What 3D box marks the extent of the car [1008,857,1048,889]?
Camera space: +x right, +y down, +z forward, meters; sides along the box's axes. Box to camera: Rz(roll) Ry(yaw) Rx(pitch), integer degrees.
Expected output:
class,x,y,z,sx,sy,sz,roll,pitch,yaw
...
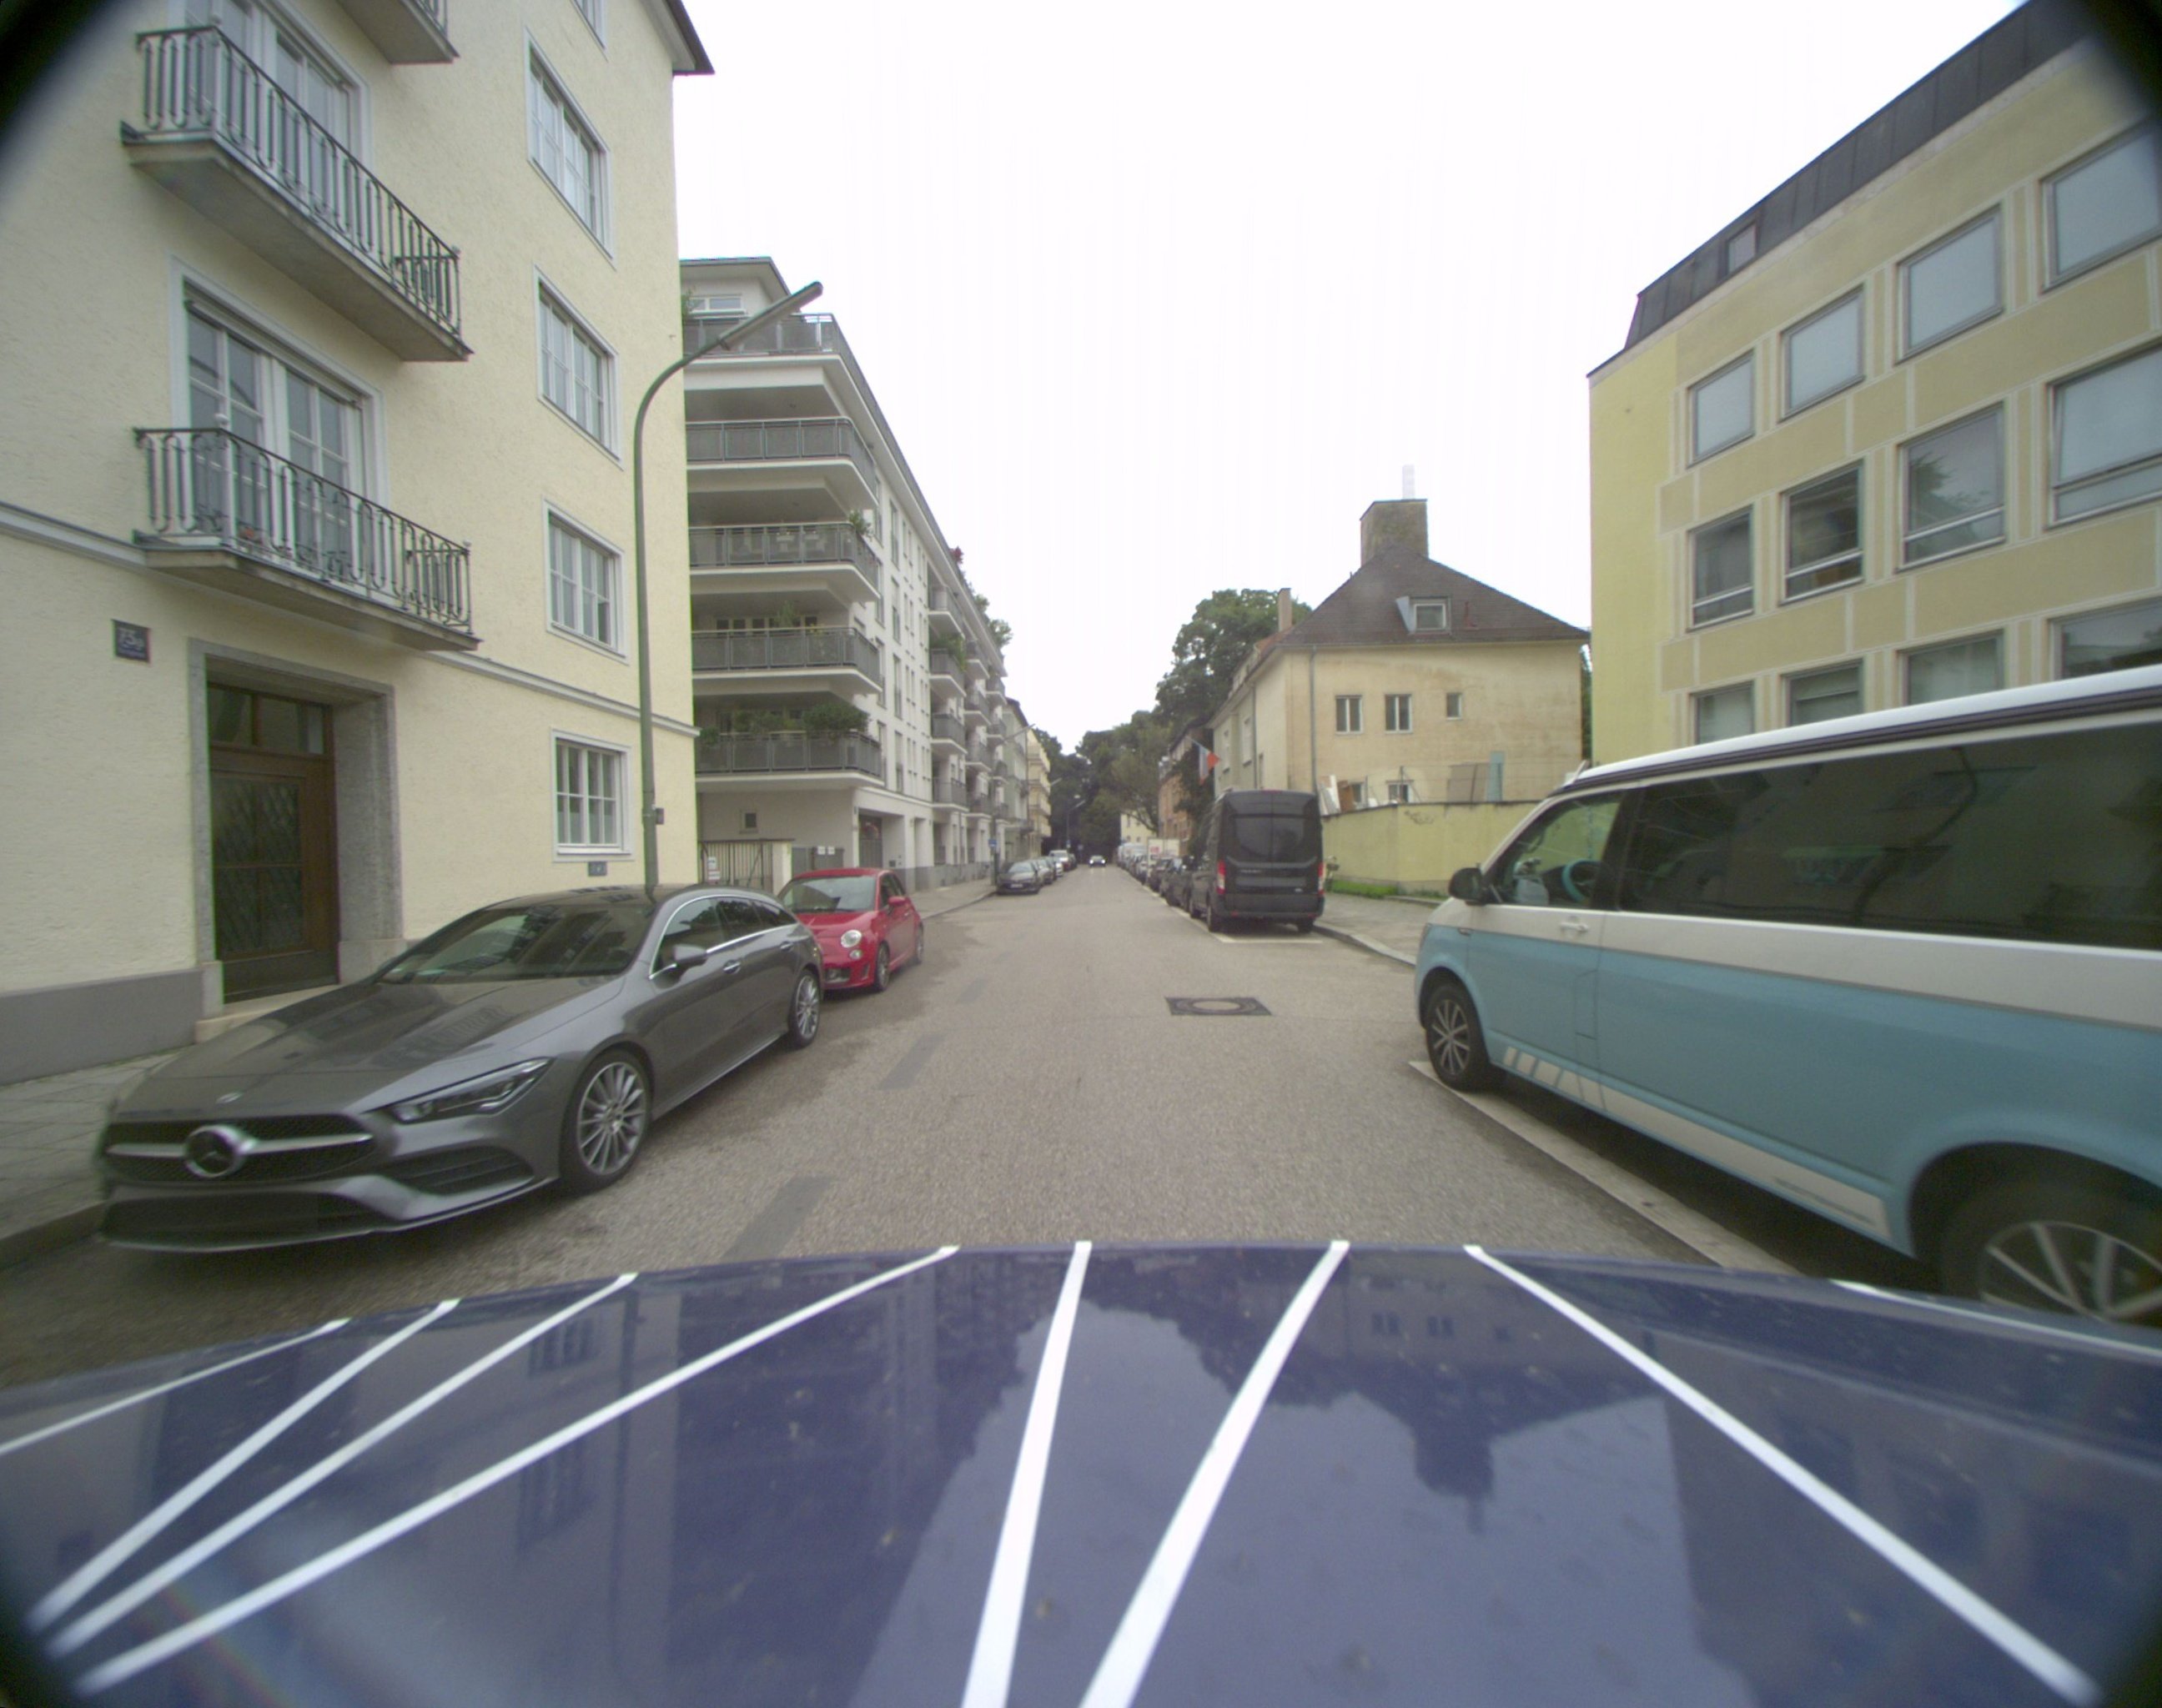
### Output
class,x,y,z,sx,sy,sz,roll,pitch,yaw
car,-2.606,0.916,38.296,1.621,1.458,3.746,-2,0,1

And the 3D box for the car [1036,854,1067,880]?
class,x,y,z,sx,sy,sz,roll,pitch,yaw
car,-1.864,0.787,49.355,1.842,1.524,4.020,-3,0,-1

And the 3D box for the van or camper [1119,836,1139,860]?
class,x,y,z,sx,sy,sz,roll,pitch,yaw
van or camper,5.515,-0.713,87.576,2.116,2.646,4.958,0,0,1

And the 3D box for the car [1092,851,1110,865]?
class,x,y,z,sx,sy,sz,roll,pitch,yaw
car,2.251,0.460,87.401,1.998,1.521,4.000,-3,0,1

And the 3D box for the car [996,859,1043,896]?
class,x,y,z,sx,sy,sz,roll,pitch,yaw
car,-2.670,0.987,33.670,1.776,1.467,4.217,-2,0,-1

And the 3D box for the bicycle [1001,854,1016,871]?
class,x,y,z,sx,sy,sz,roll,pitch,yaw
bicycle,-5.353,0.599,56.148,0.803,1.165,1.973,-2,0,2

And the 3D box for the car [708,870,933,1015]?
class,x,y,z,sx,sy,sz,roll,pitch,yaw
car,-3.190,0.997,10.121,1.659,1.421,3.755,-2,0,0

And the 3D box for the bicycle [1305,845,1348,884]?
class,x,y,z,sx,sy,sz,roll,pitch,yaw
bicycle,8.085,0.313,25.129,0.804,1.226,1.868,-1,1,0

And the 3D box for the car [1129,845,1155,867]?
class,x,y,z,sx,sy,sz,roll,pitch,yaw
car,4.372,0.126,54.492,1.630,1.459,3.520,0,1,1

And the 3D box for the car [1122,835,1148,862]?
class,x,y,z,sx,sy,sz,roll,pitch,yaw
car,5.015,-0.487,71.146,2.117,2.461,5.231,0,0,1

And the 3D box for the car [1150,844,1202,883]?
class,x,y,z,sx,sy,sz,roll,pitch,yaw
car,3.995,0.371,32.692,1.868,1.533,5.092,0,0,3

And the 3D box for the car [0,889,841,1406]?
class,x,y,z,sx,sy,sz,roll,pitch,yaw
car,-3.160,1.077,4.786,1.777,1.421,4.615,-2,0,0

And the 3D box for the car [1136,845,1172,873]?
class,x,y,z,sx,sy,sz,roll,pitch,yaw
car,4.131,0.294,43.464,1.683,1.521,4.107,0,0,1

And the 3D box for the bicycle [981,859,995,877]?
class,x,y,z,sx,sy,sz,roll,pitch,yaw
bicycle,-5.837,0.871,47.536,0.570,1.092,1.810,2,1,2

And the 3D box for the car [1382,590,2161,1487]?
class,x,y,z,sx,sy,sz,roll,pitch,yaw
car,3.265,0.409,3.182,1.920,1.948,4.960,0,0,-2

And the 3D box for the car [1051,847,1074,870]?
class,x,y,z,sx,sy,sz,roll,pitch,yaw
car,-1.694,0.388,70.343,1.858,2.019,4.783,-2,0,1

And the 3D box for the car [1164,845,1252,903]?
class,x,y,z,sx,sy,sz,roll,pitch,yaw
car,3.483,0.502,21.519,1.657,1.488,3.907,0,0,-3

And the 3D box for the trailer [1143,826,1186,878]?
class,x,y,z,sx,sy,sz,roll,pitch,yaw
trailer,4.163,-0.128,38.671,1.980,2.457,4.577,1,1,4

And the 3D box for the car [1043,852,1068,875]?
class,x,y,z,sx,sy,sz,roll,pitch,yaw
car,-1.836,0.671,55.431,1.668,1.459,4.374,-1,1,-1

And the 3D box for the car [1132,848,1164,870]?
class,x,y,z,sx,sy,sz,roll,pitch,yaw
car,4.327,0.297,49.368,1.750,1.360,4.402,0,0,1

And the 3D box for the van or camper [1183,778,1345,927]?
class,x,y,z,sx,sy,sz,roll,pitch,yaw
van or camper,3.626,-0.043,16.274,2.298,2.635,5.561,0,0,2

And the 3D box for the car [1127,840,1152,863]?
class,x,y,z,sx,sy,sz,roll,pitch,yaw
car,4.655,-0.195,60.899,1.719,1.746,4.250,0,0,1

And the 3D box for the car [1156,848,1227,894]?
class,x,y,z,sx,sy,sz,roll,pitch,yaw
car,3.703,0.525,26.087,1.679,1.428,4.285,0,0,-2

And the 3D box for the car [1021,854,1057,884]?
class,x,y,z,sx,sy,sz,roll,pitch,yaw
car,-2.357,0.823,43.556,1.796,1.473,4.602,-3,1,0
